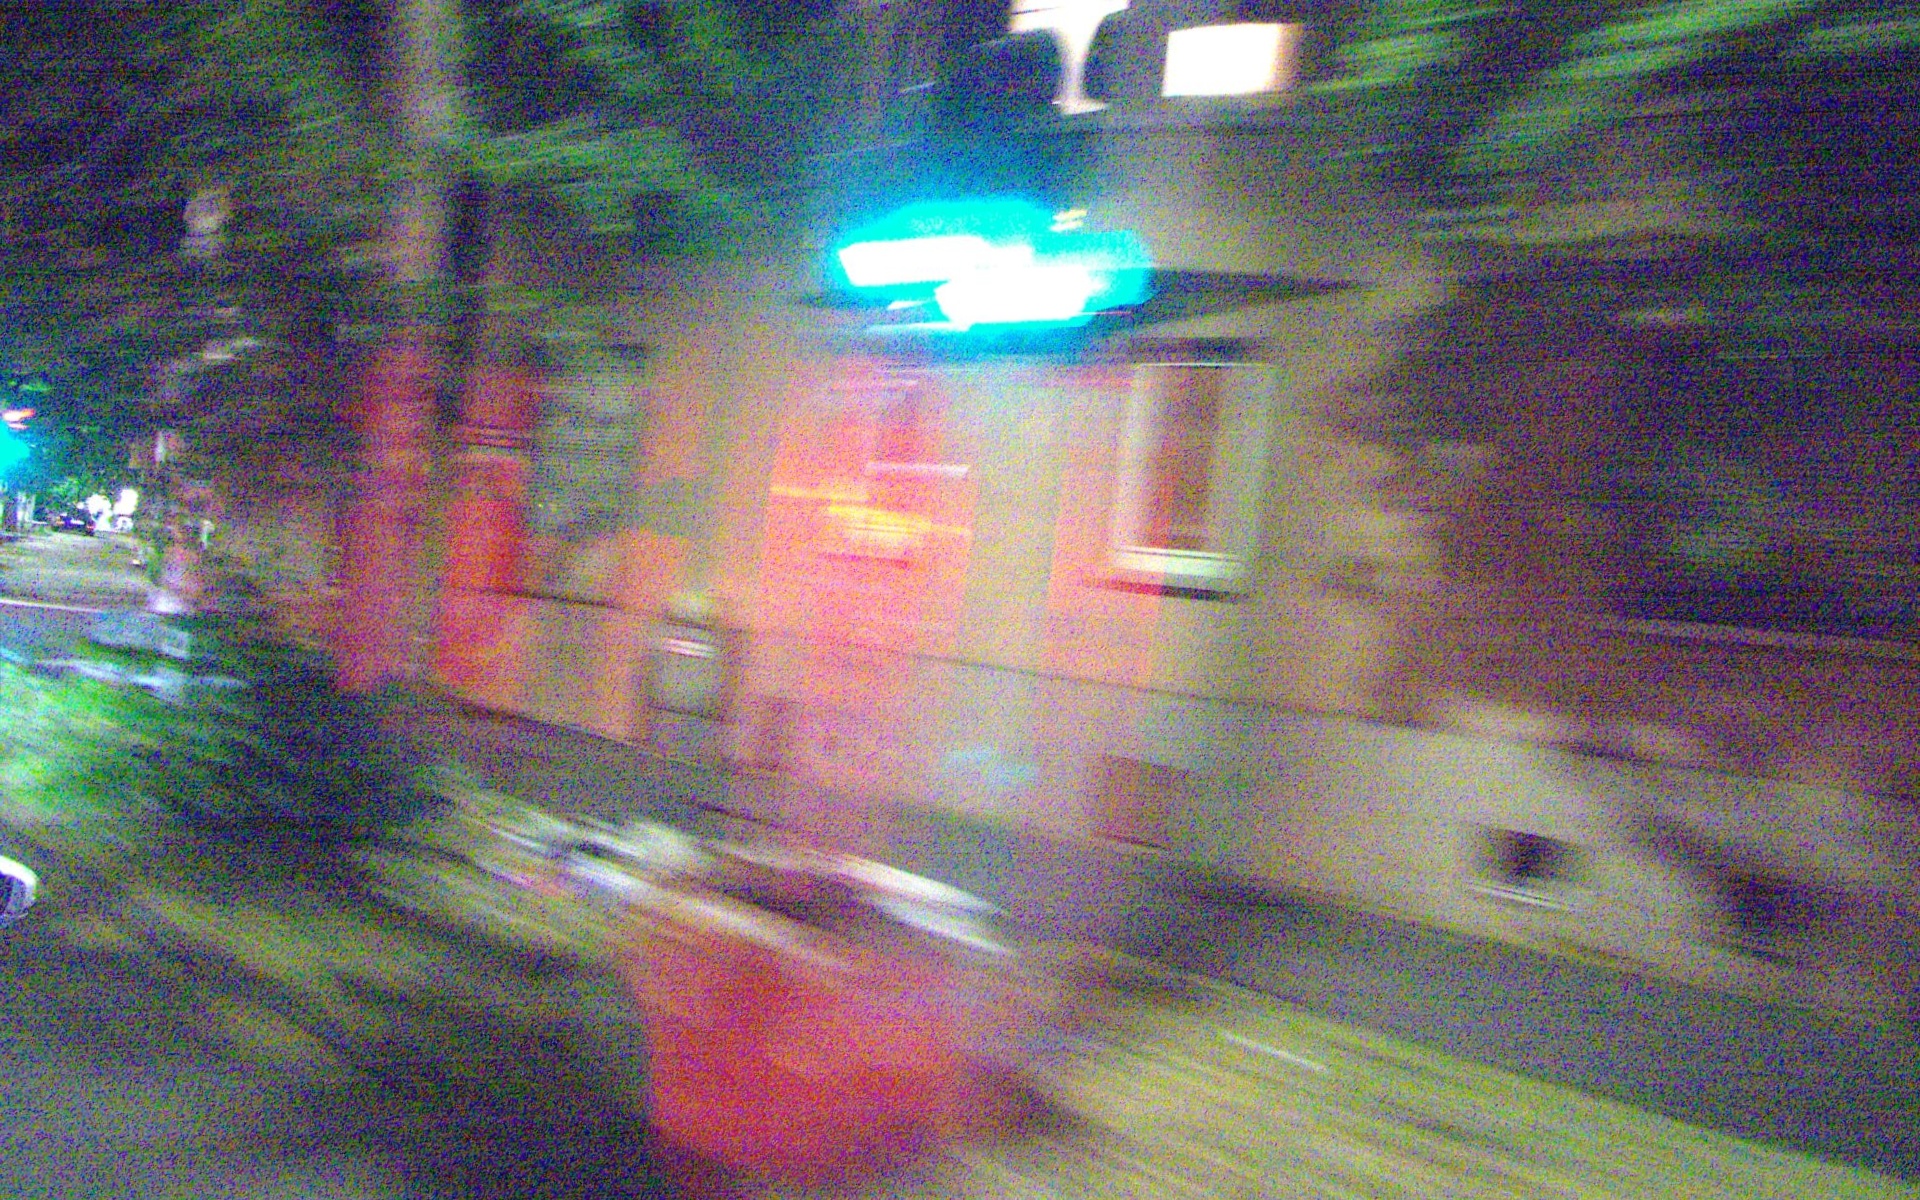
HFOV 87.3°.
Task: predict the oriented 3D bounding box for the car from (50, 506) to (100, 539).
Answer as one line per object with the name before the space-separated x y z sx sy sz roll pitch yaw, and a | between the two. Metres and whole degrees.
car | -50.746 -4.476 57.665 4.667 1.476 1.731 6 -3 45

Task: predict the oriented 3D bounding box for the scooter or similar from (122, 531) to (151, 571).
scooter or similar | -25.339 -1.503 30.974 0.419 1.144 1.480 8 -1 -33
